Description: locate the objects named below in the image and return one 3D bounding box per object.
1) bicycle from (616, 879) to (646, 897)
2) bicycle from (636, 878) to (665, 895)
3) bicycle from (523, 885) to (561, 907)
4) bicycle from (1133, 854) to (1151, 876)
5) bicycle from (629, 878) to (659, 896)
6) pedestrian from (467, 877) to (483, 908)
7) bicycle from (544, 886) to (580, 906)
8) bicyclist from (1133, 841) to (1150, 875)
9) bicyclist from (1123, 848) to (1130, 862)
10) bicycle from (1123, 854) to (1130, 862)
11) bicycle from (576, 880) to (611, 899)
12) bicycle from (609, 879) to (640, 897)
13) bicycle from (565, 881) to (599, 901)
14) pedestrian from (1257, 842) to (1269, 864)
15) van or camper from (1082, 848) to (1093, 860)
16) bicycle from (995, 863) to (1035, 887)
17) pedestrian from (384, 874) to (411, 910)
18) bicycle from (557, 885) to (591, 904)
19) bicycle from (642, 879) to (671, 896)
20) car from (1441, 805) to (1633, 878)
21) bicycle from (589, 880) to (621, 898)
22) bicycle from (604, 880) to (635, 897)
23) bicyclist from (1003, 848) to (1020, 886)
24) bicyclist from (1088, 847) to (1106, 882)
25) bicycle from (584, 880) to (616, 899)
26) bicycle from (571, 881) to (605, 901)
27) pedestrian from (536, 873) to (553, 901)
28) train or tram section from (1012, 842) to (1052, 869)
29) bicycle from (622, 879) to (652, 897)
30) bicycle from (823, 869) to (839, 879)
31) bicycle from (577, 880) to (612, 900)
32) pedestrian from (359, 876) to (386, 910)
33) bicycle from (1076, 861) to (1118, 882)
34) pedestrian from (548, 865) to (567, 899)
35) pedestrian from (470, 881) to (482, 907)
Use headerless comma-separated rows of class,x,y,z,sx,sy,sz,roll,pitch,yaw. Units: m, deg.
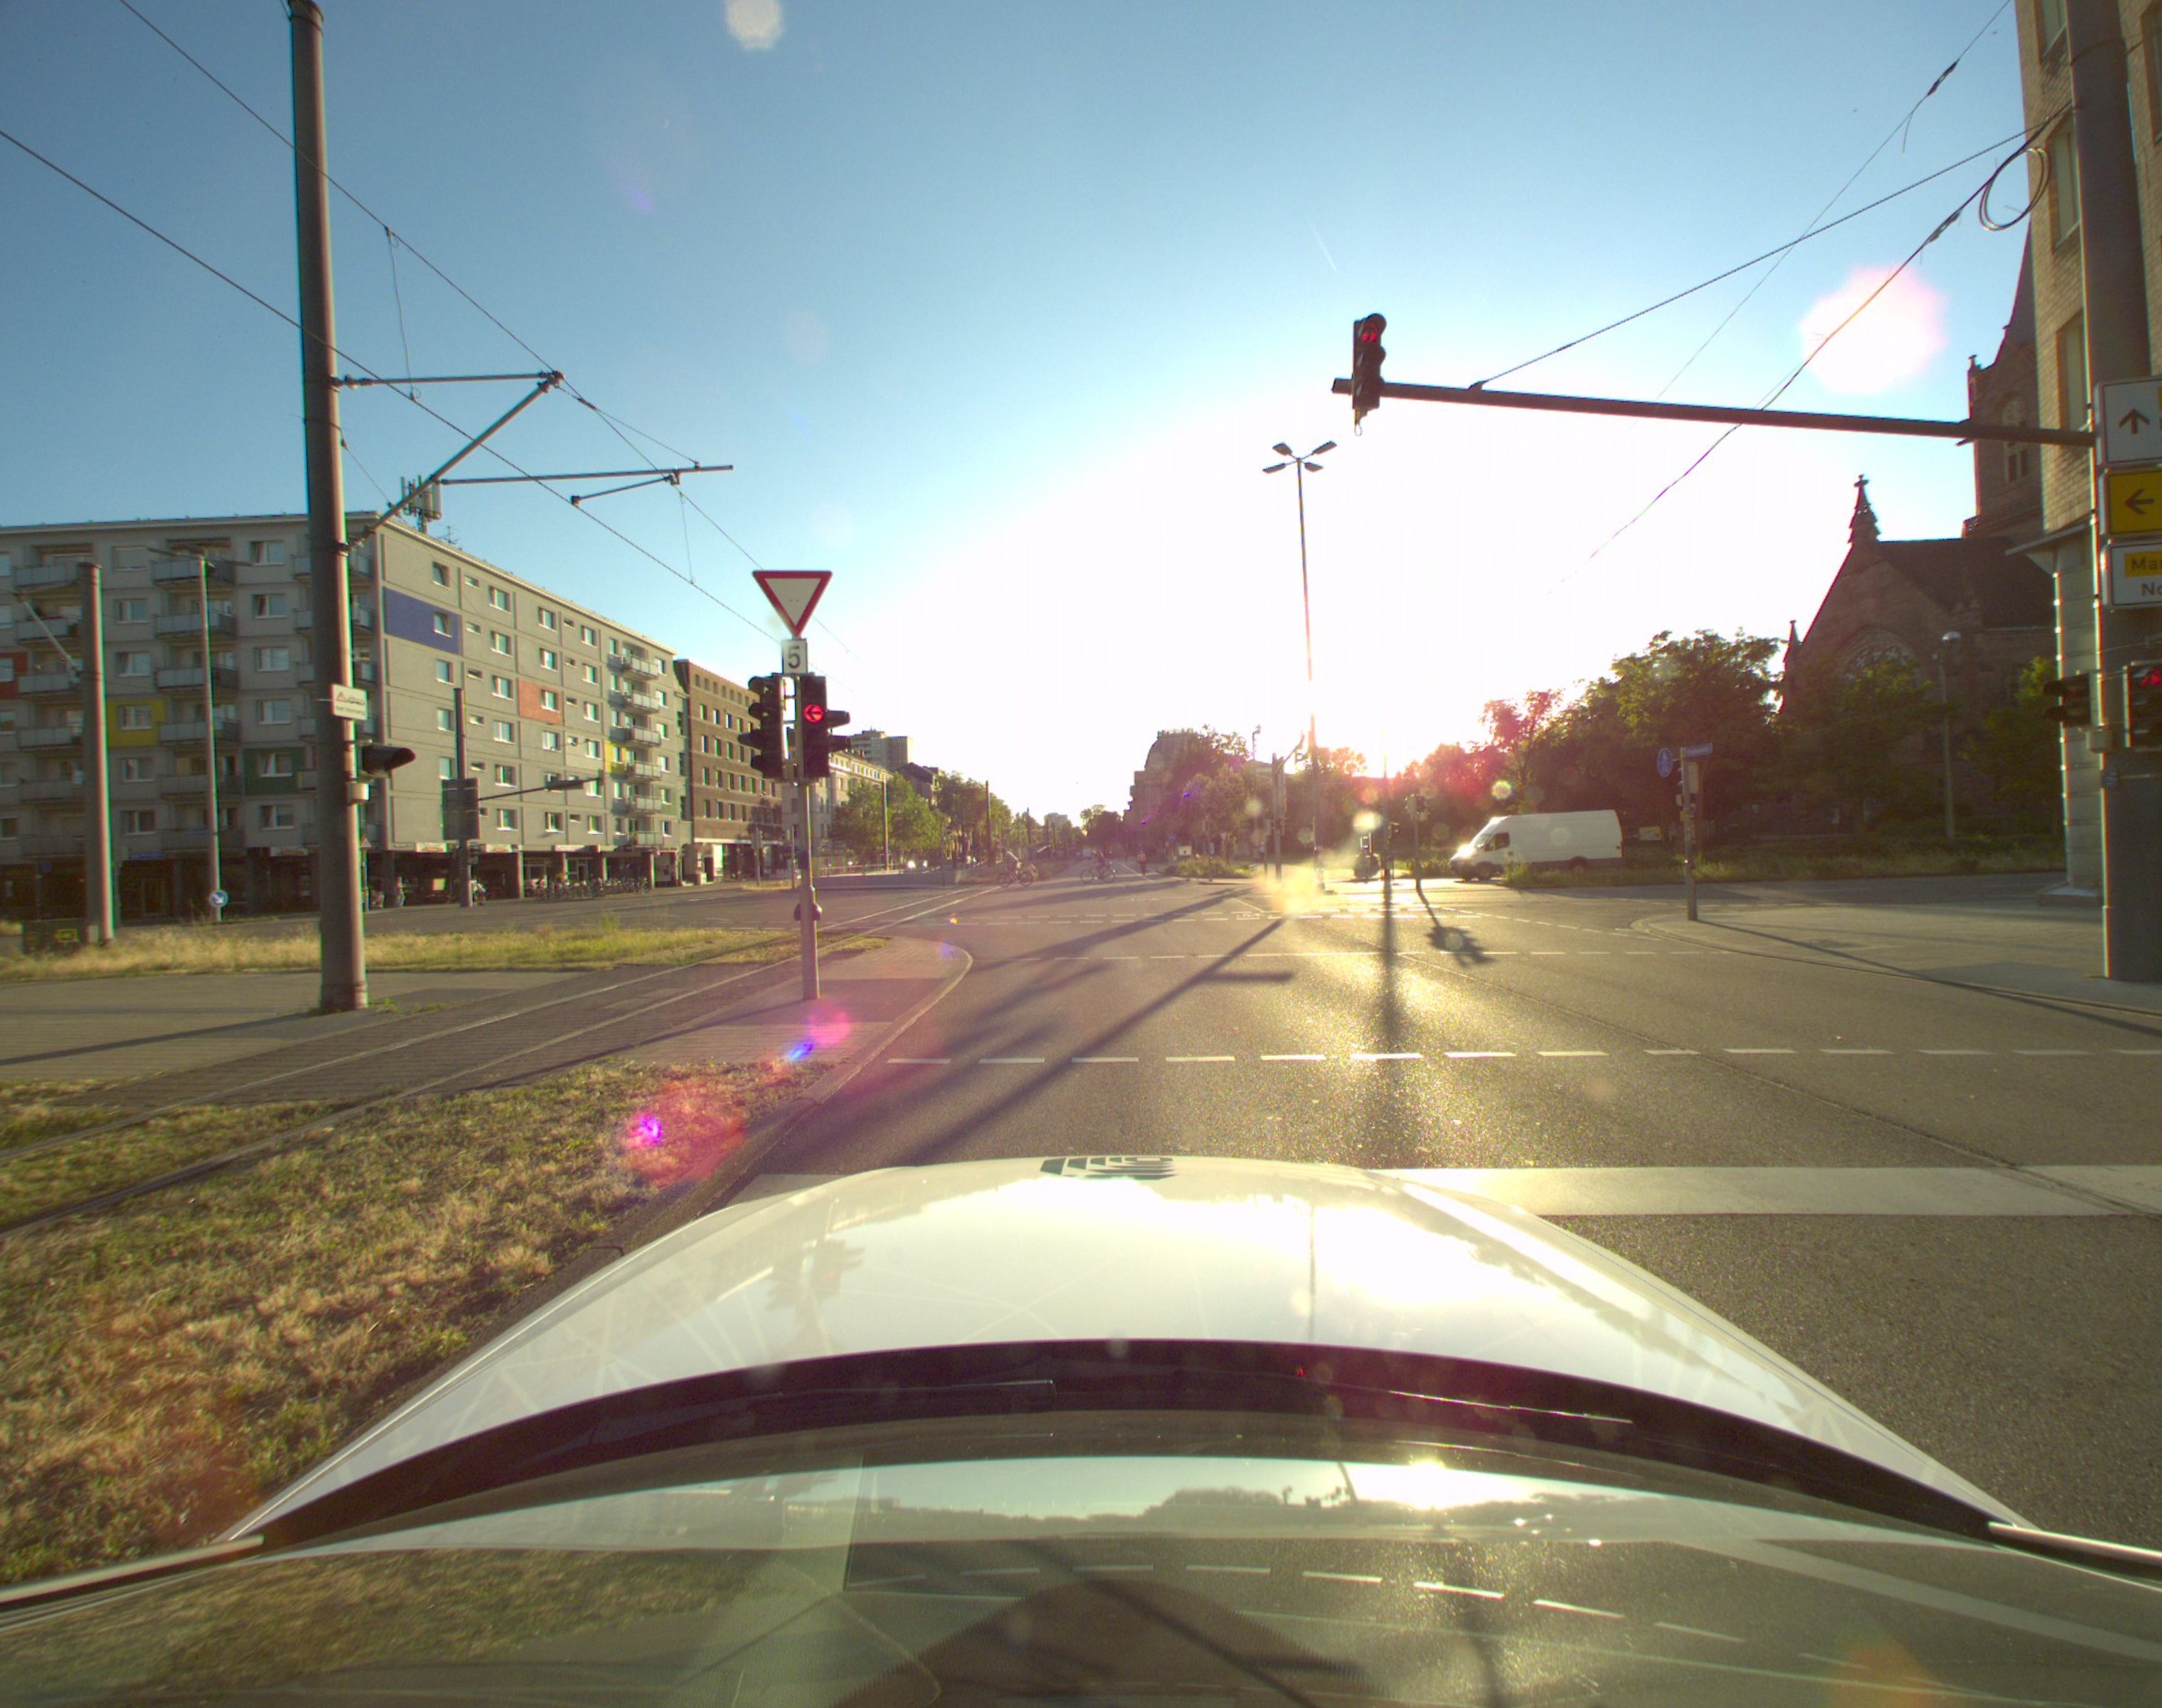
bicycle,-31.065,2.344,56.191,1.719,1.124,0.634,-2,-1,3
bicycle,-30.862,2.316,58.410,1.683,1.170,0.749,-2,0,3
bicycle,-32.289,2.522,48.799,1.788,1.208,0.638,-2,0,0
bicycle,4.198,0.730,56.188,1.094,1.399,2.833,-2,0,2
bicycle,-30.936,2.358,57.636,1.683,1.179,0.749,-2,0,3
pedestrian,-32.510,2.042,43.708,0.575,1.620,0.598,-2,0,-29
bicycle,-31.760,2.585,49.858,1.770,1.142,0.608,-2,0,1
bicyclist,4.183,0.294,56.143,1.078,2.276,0.986,-2,0,1
bicyclist,6.890,0.170,122.884,0.922,2.013,0.851,-2,0,1
bicycle,6.906,0.623,122.875,0.921,1.111,2.334,-2,0,2
bicycle,-31.787,2.304,53.099,1.824,1.160,0.640,-2,0,1
bicycle,-31.115,2.332,55.558,1.754,1.119,0.568,-2,0,2
bicycle,-31.294,2.310,51.052,1.759,1.167,0.540,-2,0,2
pedestrian,15.115,-0.096,67.654,0.826,1.803,0.814,-2,0,17
van or camper,1.442,0.035,186.925,2.441,2.770,5.600,-2,0,0
bicycle,-3.240,1.033,39.972,1.898,1.075,0.631,-2,0,-5
pedestrian,-36.356,2.018,43.339,0.785,1.841,0.733,-2,0,-7
bicycle,-31.428,2.504,50.478,1.750,1.139,0.600,-2,0,2
bicycle,-30.809,2.400,59.141,1.683,1.144,0.697,-2,0,3
car,19.559,-0.513,35.187,6.981,2.827,2.095,-2,0,3
bicycle,-31.810,2.355,54.407,1.764,1.136,0.606,-2,0,2
bicycle,-31.151,2.323,54.972,1.748,1.117,0.552,-2,0,2
bicyclist,-3.408,0.646,39.951,0.791,1.818,0.645,-2,0,-5
bicyclist,0.828,0.550,42.934,0.872,1.818,0.538,-2,0,4
bicycle,-31.743,2.325,53.745,1.769,1.159,0.606,-2,0,1
bicycle,-31.250,2.330,51.648,1.762,1.182,0.568,-2,0,1
pedestrian,-33.248,2.029,50.457,0.576,1.684,0.547,-2,0,4
train or tram section,-7.915,0.169,133.698,4.363,3.849,11.433,-2,2,7
bicycle,-30.992,2.378,56.883,1.683,1.153,0.706,-2,0,3
bicycle,-25.875,2.061,84.245,0.503,0.944,1.678,-2,0,26
bicycle,-31.241,2.298,52.299,1.782,1.191,0.652,-2,0,1
pedestrian,-38.046,2.086,43.746,0.826,1.813,0.718,-1,-1,-9
bicycle,0.834,0.924,42.927,2.154,1.083,0.539,-2,-1,3
pedestrian,-34.384,1.849,53.485,0.599,2.178,0.792,-2,0,1
pedestrian,-32.851,2.190,44.221,0.383,1.383,0.392,-2,0,-26
